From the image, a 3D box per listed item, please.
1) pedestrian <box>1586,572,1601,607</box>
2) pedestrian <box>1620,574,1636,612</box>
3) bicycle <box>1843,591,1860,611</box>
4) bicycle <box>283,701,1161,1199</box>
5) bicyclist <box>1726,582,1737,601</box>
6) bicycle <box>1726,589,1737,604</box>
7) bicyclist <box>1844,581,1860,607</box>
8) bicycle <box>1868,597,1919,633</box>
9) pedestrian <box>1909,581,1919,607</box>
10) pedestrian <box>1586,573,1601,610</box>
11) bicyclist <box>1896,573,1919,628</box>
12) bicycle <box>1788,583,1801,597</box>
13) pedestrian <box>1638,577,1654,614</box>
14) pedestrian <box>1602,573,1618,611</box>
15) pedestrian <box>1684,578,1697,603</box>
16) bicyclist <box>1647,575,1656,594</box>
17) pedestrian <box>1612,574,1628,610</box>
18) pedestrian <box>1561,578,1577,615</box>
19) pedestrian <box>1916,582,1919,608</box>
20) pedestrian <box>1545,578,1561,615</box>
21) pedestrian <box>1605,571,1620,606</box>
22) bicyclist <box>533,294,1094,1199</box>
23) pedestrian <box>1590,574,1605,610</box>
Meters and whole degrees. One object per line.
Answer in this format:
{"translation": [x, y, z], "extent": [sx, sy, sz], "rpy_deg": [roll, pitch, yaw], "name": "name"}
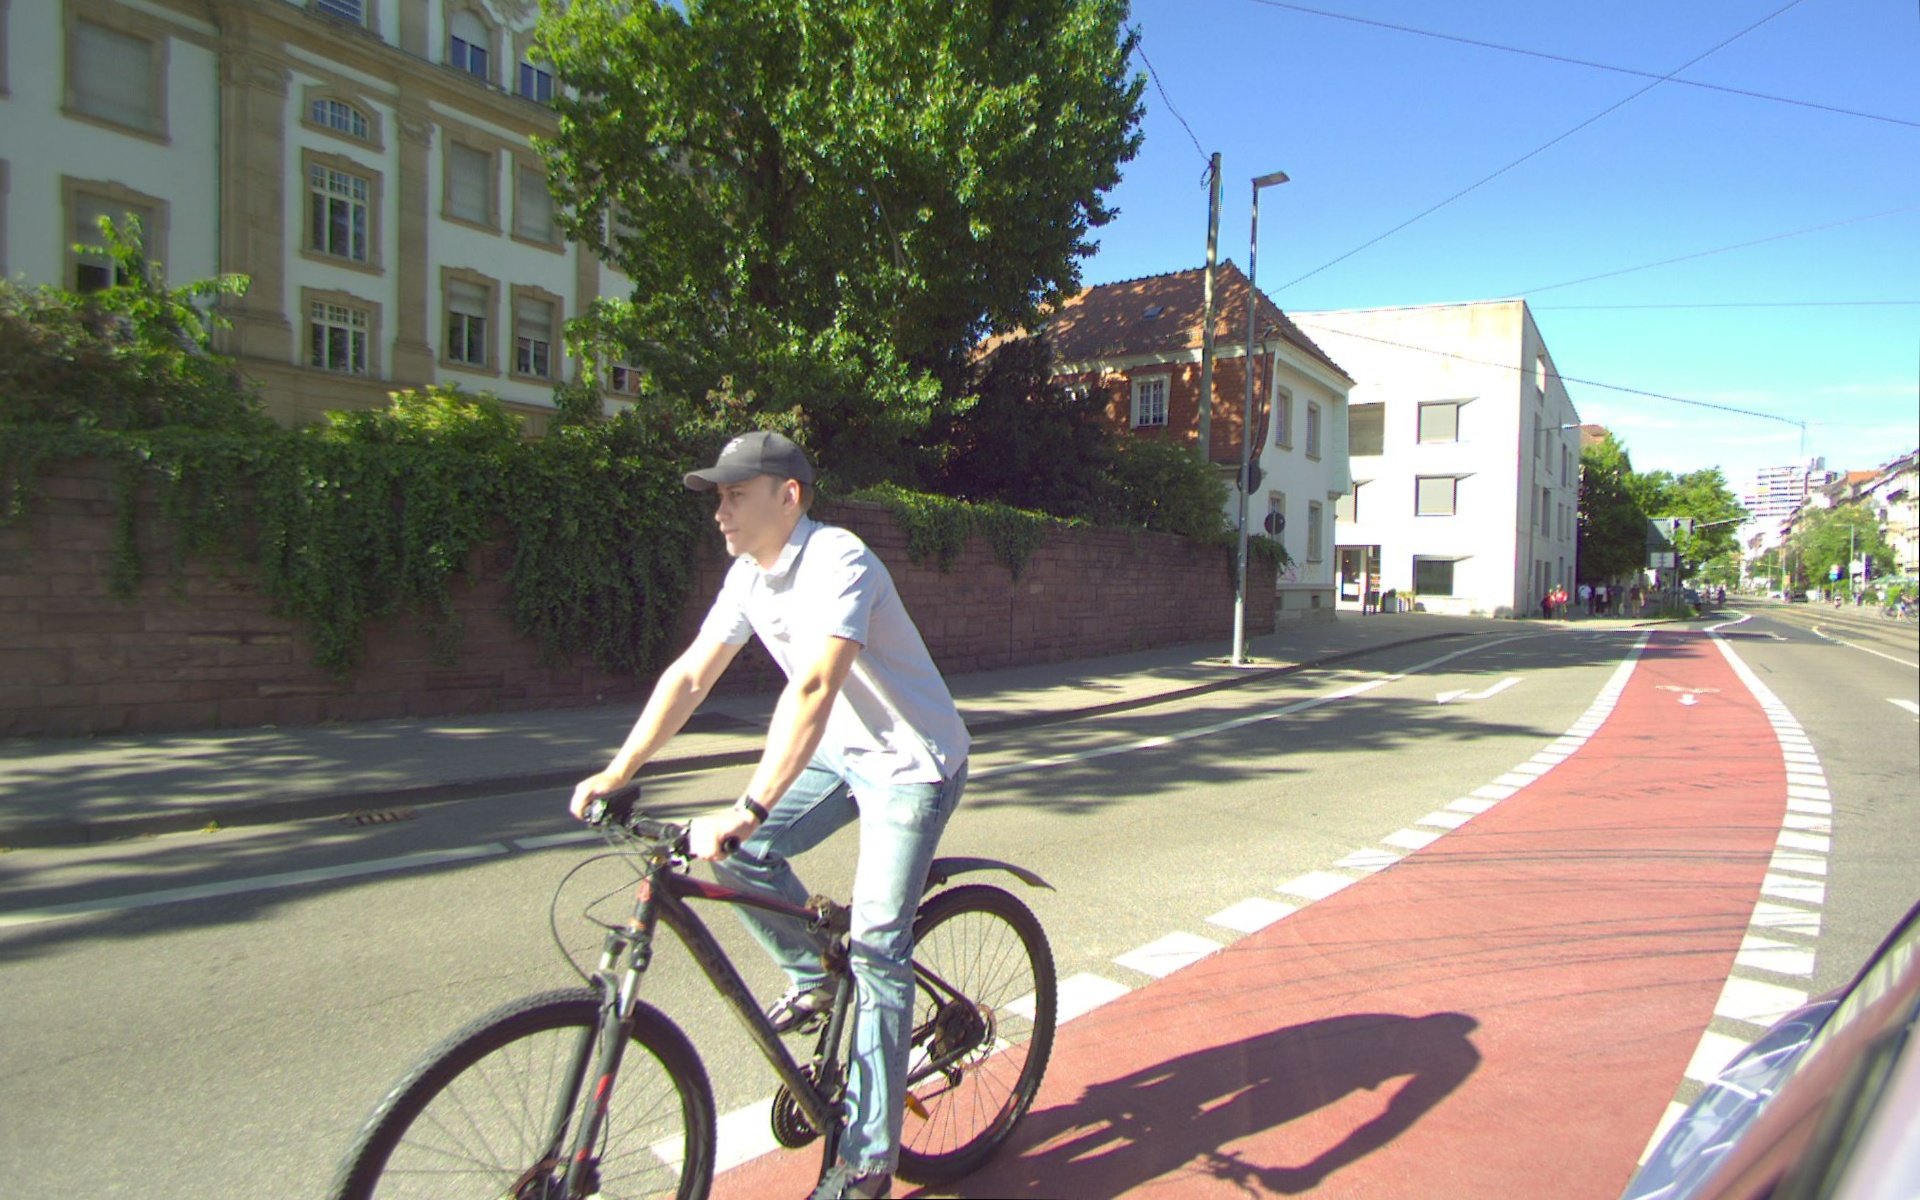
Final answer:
{"translation": [33.367, -0.541, 53.298], "extent": [0.584, 1.828, 0.538], "rpy_deg": [2, 1, 36], "name": "pedestrian"}
{"translation": [32.381, -0.329, 49.045], "extent": [0.584, 1.828, 0.513], "rpy_deg": [2, 1, 36], "name": "pedestrian"}
{"translation": [79.625, 0.103, 90.356], "extent": [0.999, 1.702, 2.943], "rpy_deg": [0, 2, 39], "name": "bicycle"}
{"translation": [-0.395, 0.858, 2.234], "extent": [1.796, 1.090, 0.612], "rpy_deg": [0, 1, -38], "name": "bicycle"}
{"translation": [61.474, -0.670, 80.636], "extent": [0.663, 1.480, 0.613], "rpy_deg": [0, 1, 41], "name": "bicyclist"}
{"translation": [61.489, -0.260, 80.656], "extent": [0.663, 1.166, 1.648], "rpy_deg": [0, 2, 40], "name": "bicycle"}
{"translation": [79.590, -0.508, 90.315], "extent": [0.999, 2.296, 1.006], "rpy_deg": [0, 1, 39], "name": "bicyclist"}
{"translation": [52.153, 0.804, 55.165], "extent": [3.876, 1.910, 0.990], "rpy_deg": [1, 2, 40], "name": "bicycle"}
{"translation": [71.344, -0.439, 75.556], "extent": [0.576, 1.879, 0.675], "rpy_deg": [2, 2, 37], "name": "pedestrian"}
{"translation": [31.353, -0.414, 50.088], "extent": [0.584, 1.828, 0.538], "rpy_deg": [2, 1, 36], "name": "pedestrian"}
{"translation": [52.084, 0.020, 55.192], "extent": [1.467, 3.012, 0.990], "rpy_deg": [0, 1, 40], "name": "bicyclist"}
{"translation": [103.604, -1.296, 125.655], "extent": [0.998, 1.702, 2.946], "rpy_deg": [0, 2, 37], "name": "bicycle"}
{"translation": [33.081, -0.231, 48.831], "extent": [0.584, 1.749, 0.513], "rpy_deg": [2, 1, 36], "name": "pedestrian"}
{"translation": [31.955, -0.411, 49.737], "extent": [0.584, 1.828, 0.538], "rpy_deg": [2, 1, 36], "name": "pedestrian"}
{"translation": [50.596, -0.664, 70.109], "extent": [0.675, 1.759, 0.919], "rpy_deg": [2, 2, 38], "name": "pedestrian"}
{"translation": [81.265, -1.827, 118.941], "extent": [0.809, 2.234, 0.971], "rpy_deg": [0, 1, 39], "name": "bicyclist"}
{"translation": [33.336, -0.406, 51.110], "extent": [0.584, 1.828, 0.575], "rpy_deg": [2, 1, 36], "name": "pedestrian"}
{"translation": [26.802, -0.153, 44.531], "extent": [0.531, 1.586, 0.513], "rpy_deg": [2, 1, 36], "name": "pedestrian"}
{"translation": [69.270, -0.341, 72.847], "extent": [0.576, 1.879, 0.675], "rpy_deg": [2, 2, 37], "name": "pedestrian"}
{"translation": [26.325, -0.163, 44.908], "extent": [0.531, 1.586, 0.513], "rpy_deg": [2, 1, 36], "name": "pedestrian"}
{"translation": [34.038, -0.591, 52.809], "extent": [0.584, 1.828, 0.538], "rpy_deg": [2, 1, 36], "name": "pedestrian"}
{"translation": [-0.328, 0.389, 2.260], "extent": [0.995, 1.798, 0.751], "rpy_deg": [0, 1, -38], "name": "bicyclist"}
{"translation": [32.521, -0.414, 51.596], "extent": [0.584, 1.828, 0.575], "rpy_deg": [2, 1, 36], "name": "pedestrian"}
